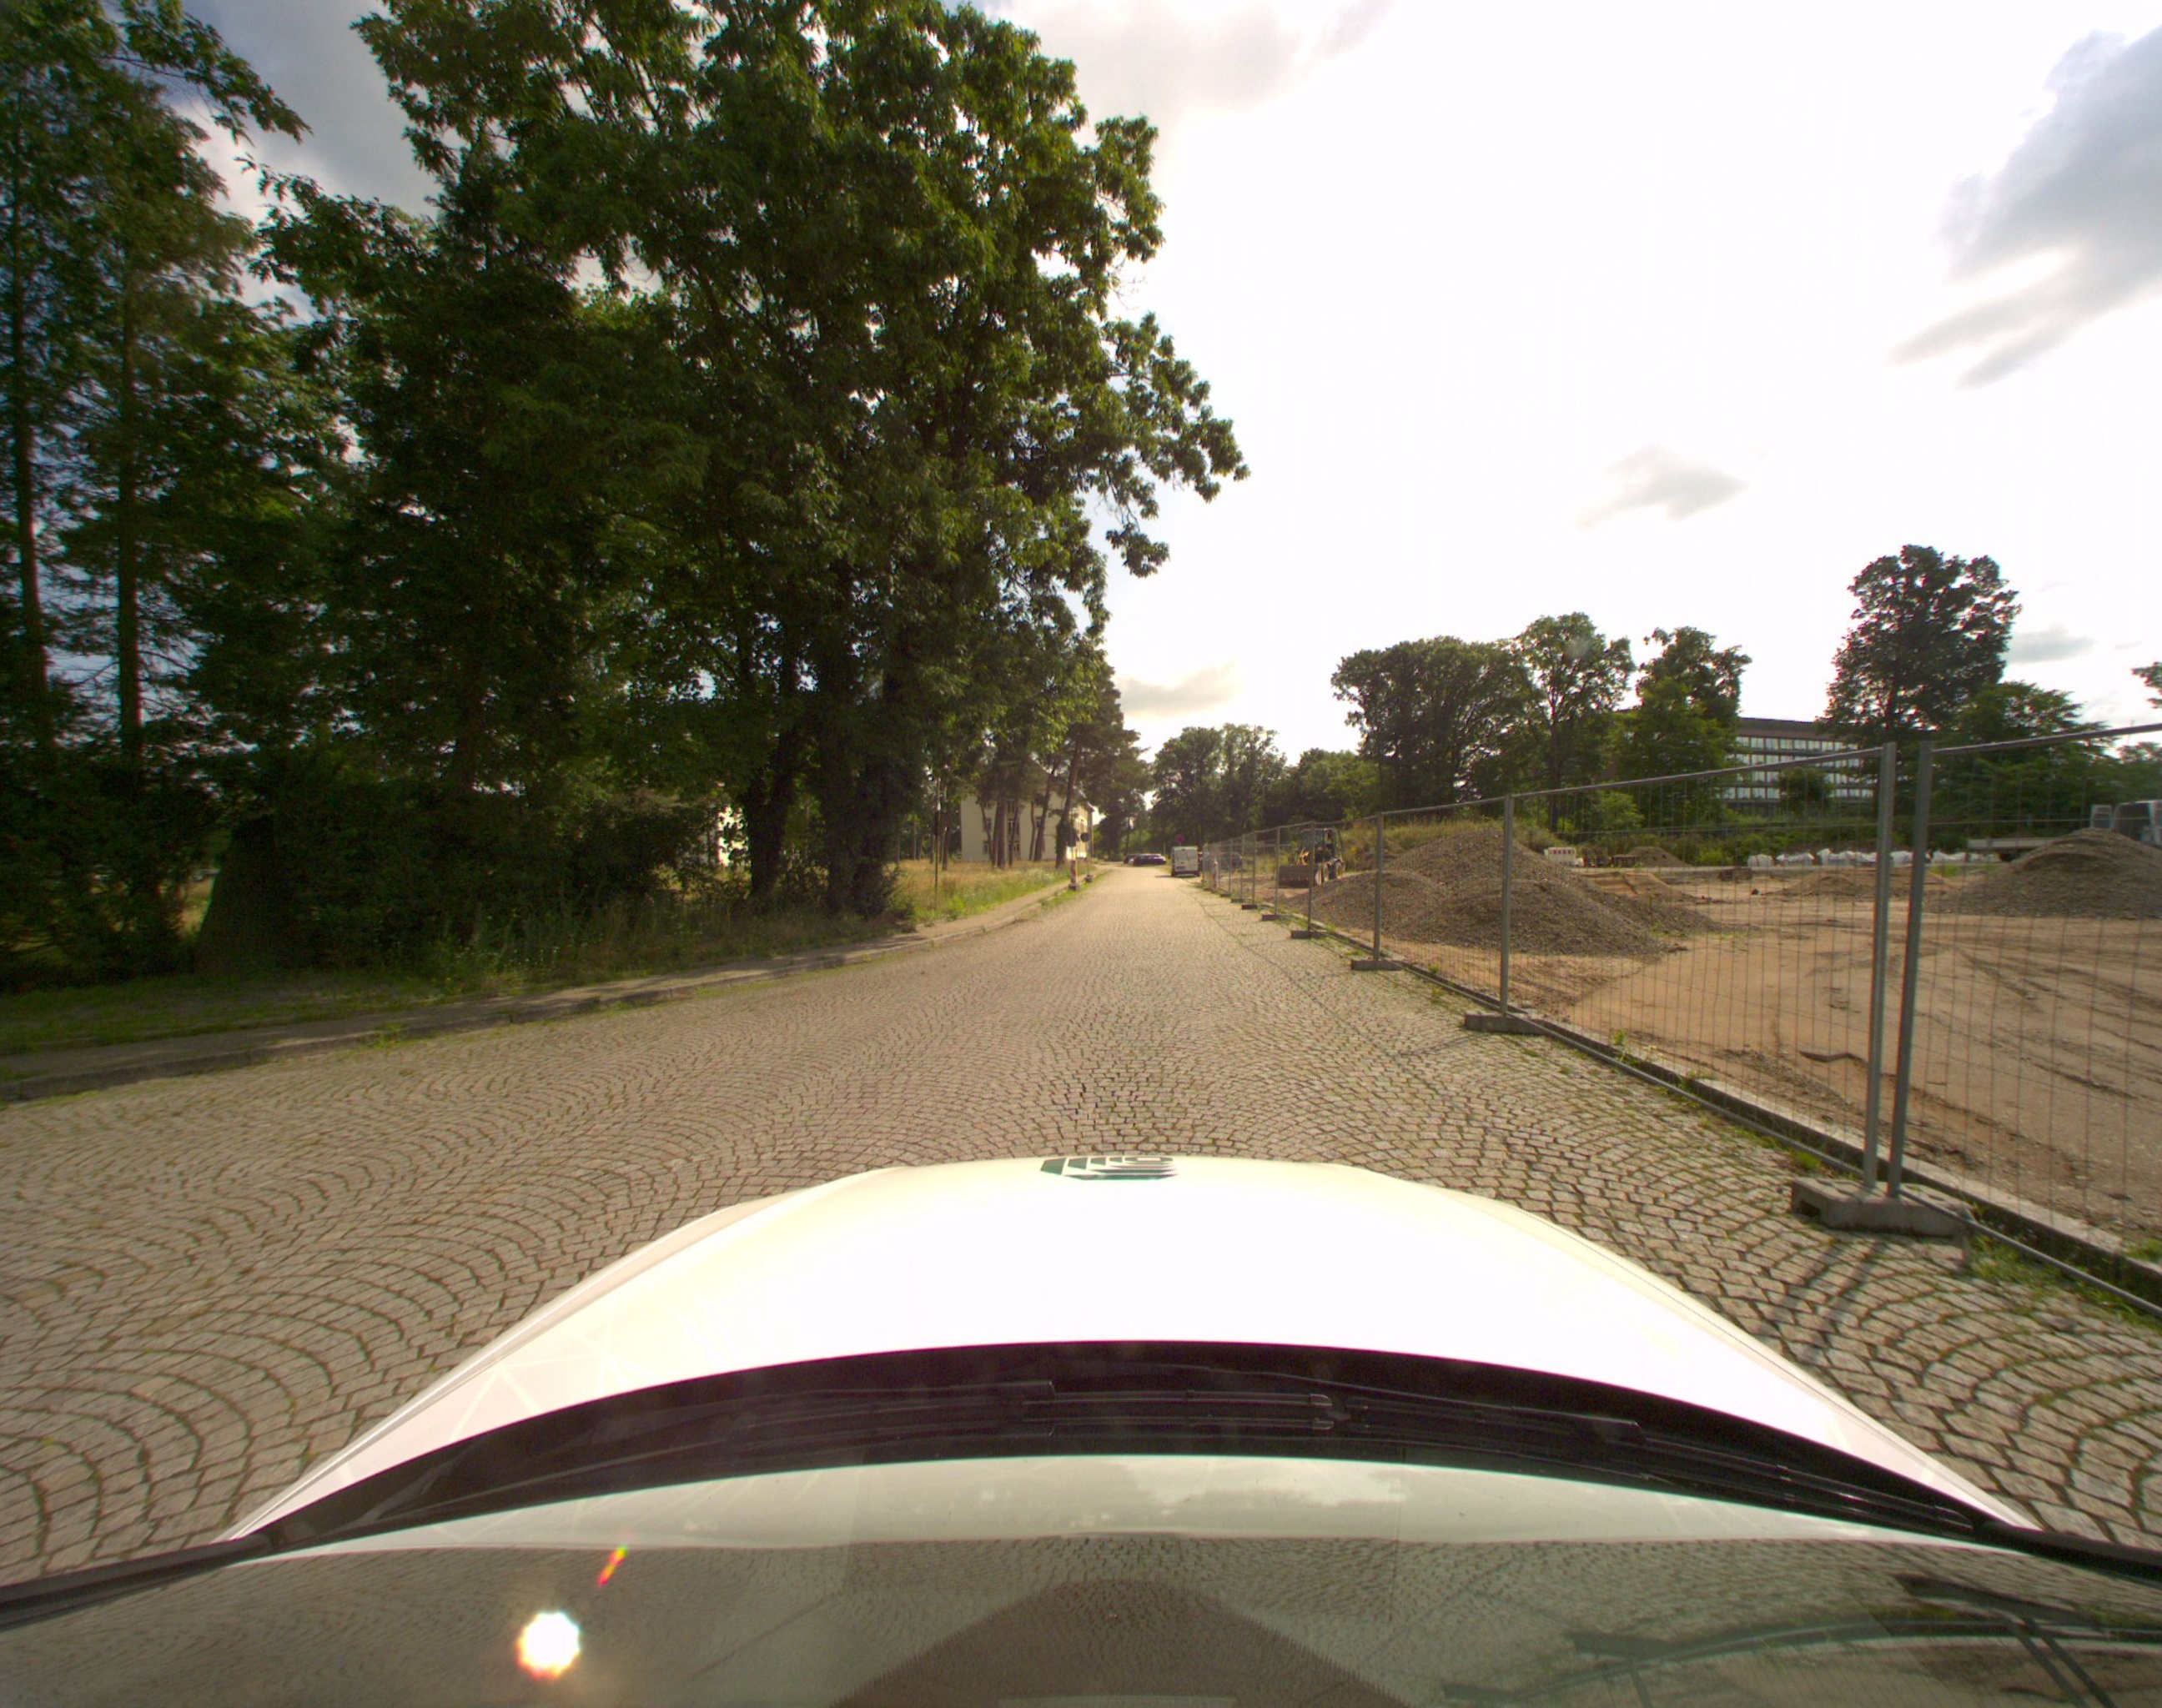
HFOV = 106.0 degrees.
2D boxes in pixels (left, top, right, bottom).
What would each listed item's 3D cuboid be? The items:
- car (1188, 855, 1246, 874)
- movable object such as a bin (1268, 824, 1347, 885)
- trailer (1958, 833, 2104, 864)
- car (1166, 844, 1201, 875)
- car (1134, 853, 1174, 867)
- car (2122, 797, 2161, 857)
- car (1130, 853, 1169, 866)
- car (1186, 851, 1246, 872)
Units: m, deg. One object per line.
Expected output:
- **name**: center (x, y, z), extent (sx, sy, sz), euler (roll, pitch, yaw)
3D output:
- **car**: center (10.669, 0.816, 63.795), extent (4.374, 1.510, 2.006), euler (0, 0, 11)
- **movable object such as a bin**: center (10.361, 0.018, 36.988), extent (2.108, 2.593, 4.821), euler (-1, 0, 32)
- **trailer**: center (44.317, -0.223, 38.141), extent (3.949, 1.354, 2.101), euler (-1, 0, 28)
- **car**: center (6.958, 0.388, 55.375), extent (1.986, 2.013, 4.093), euler (-1, 0, 2)
- **car**: center (9.100, 0.718, 101.866), extent (4.768, 1.641, 1.998), euler (-1, 0, -2)
- **car**: center (50.034, -1.216, 35.907), extent (4.766, 2.642, 2.064), euler (-1, 0, 16)
- **car**: center (8.839, 0.717, 105.260), extent (4.768, 1.641, 1.998), euler (-1, 0, -2)
- **car**: center (10.120, 0.531, 61.052), extent (4.374, 1.510, 2.006), euler (0, 0, 11)
